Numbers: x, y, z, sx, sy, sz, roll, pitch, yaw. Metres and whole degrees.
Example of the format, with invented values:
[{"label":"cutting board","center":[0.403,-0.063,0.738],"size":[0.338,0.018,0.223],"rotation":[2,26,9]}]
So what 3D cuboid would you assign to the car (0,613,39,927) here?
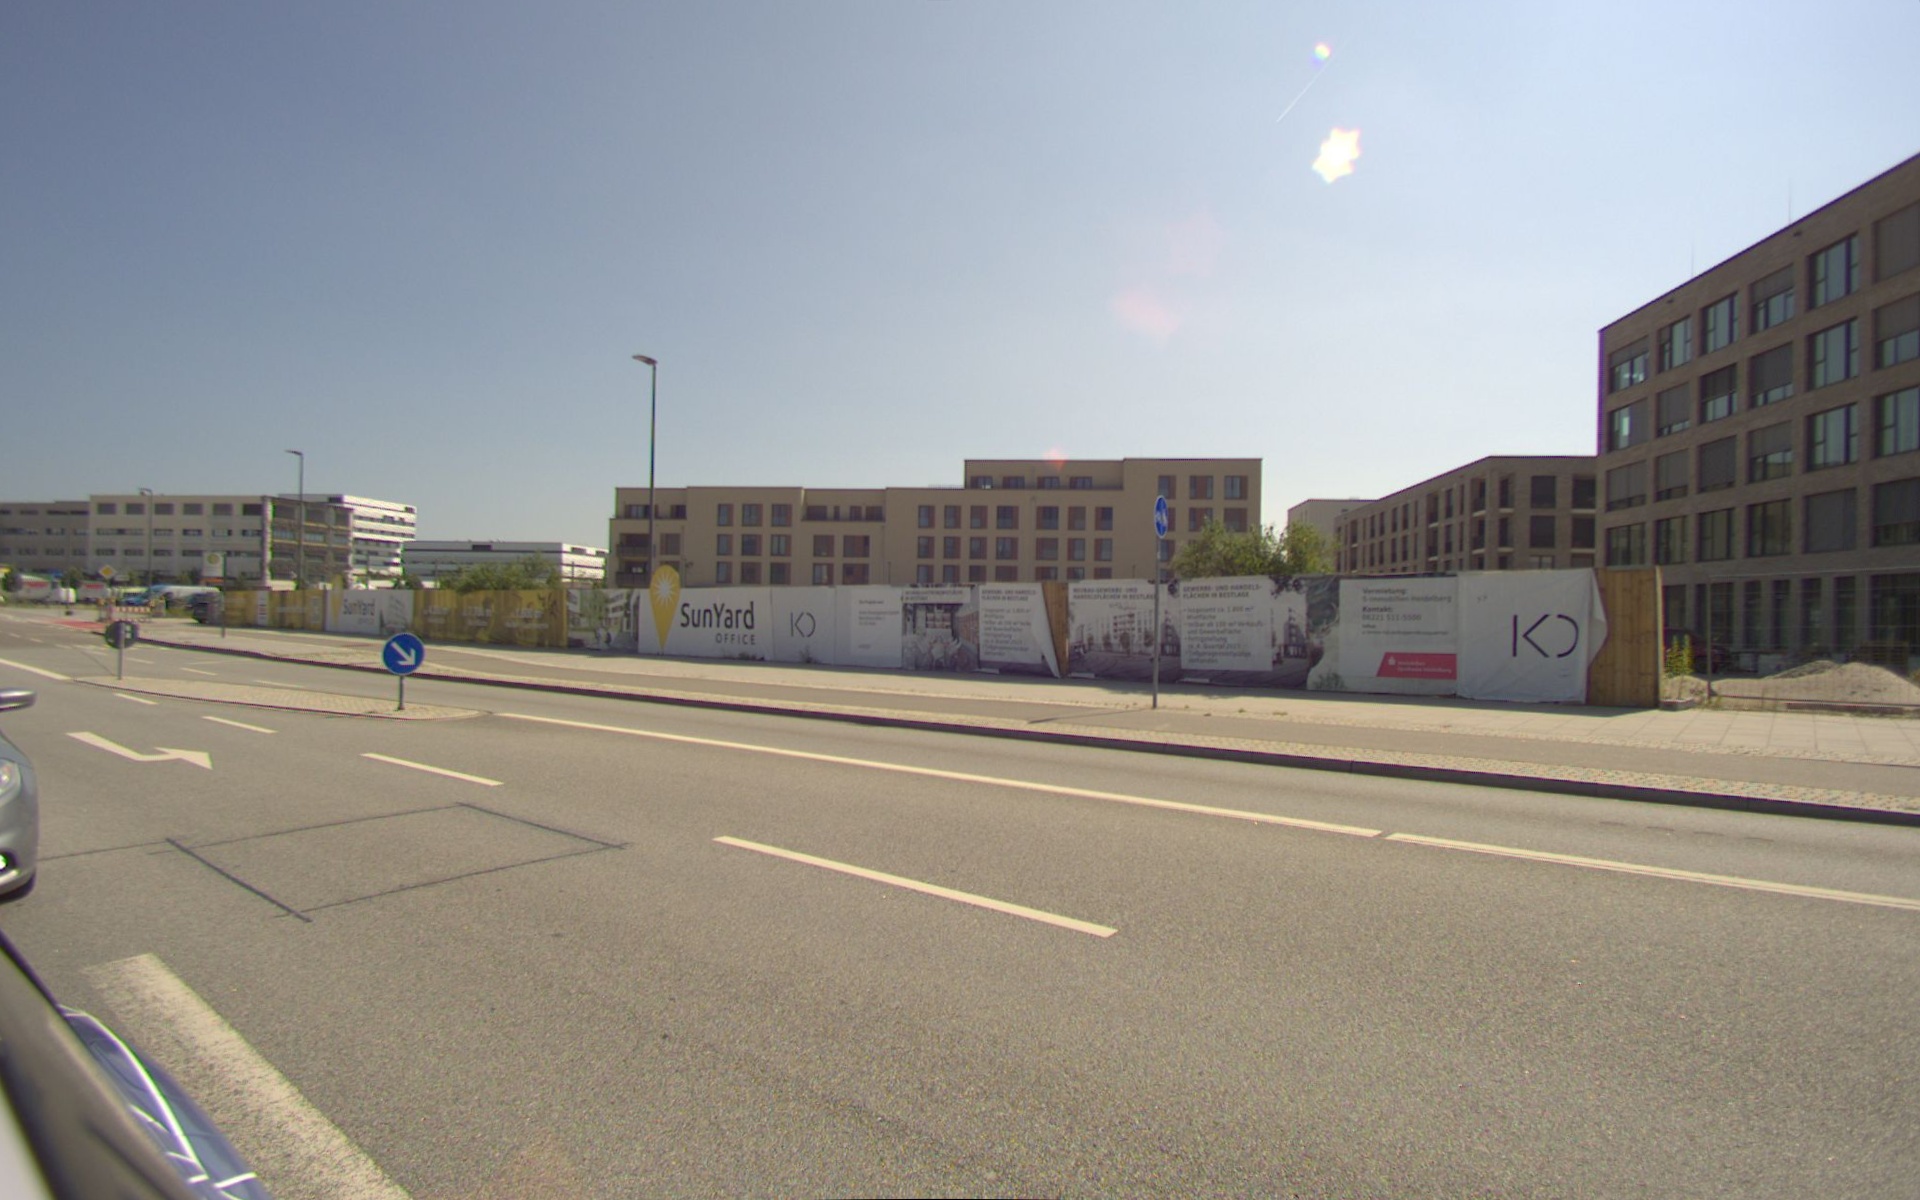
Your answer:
[{"label":"car","center":[-6.317,0.784,5.296],"size":[4.134,1.390,1.762],"rotation":[-1,0,41]}]

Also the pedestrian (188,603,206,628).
[{"label":"pedestrian","center":[-49.043,0.986,65.028],"size":[0.610,1.598,0.703],"rotation":[-1,0,5]}]
